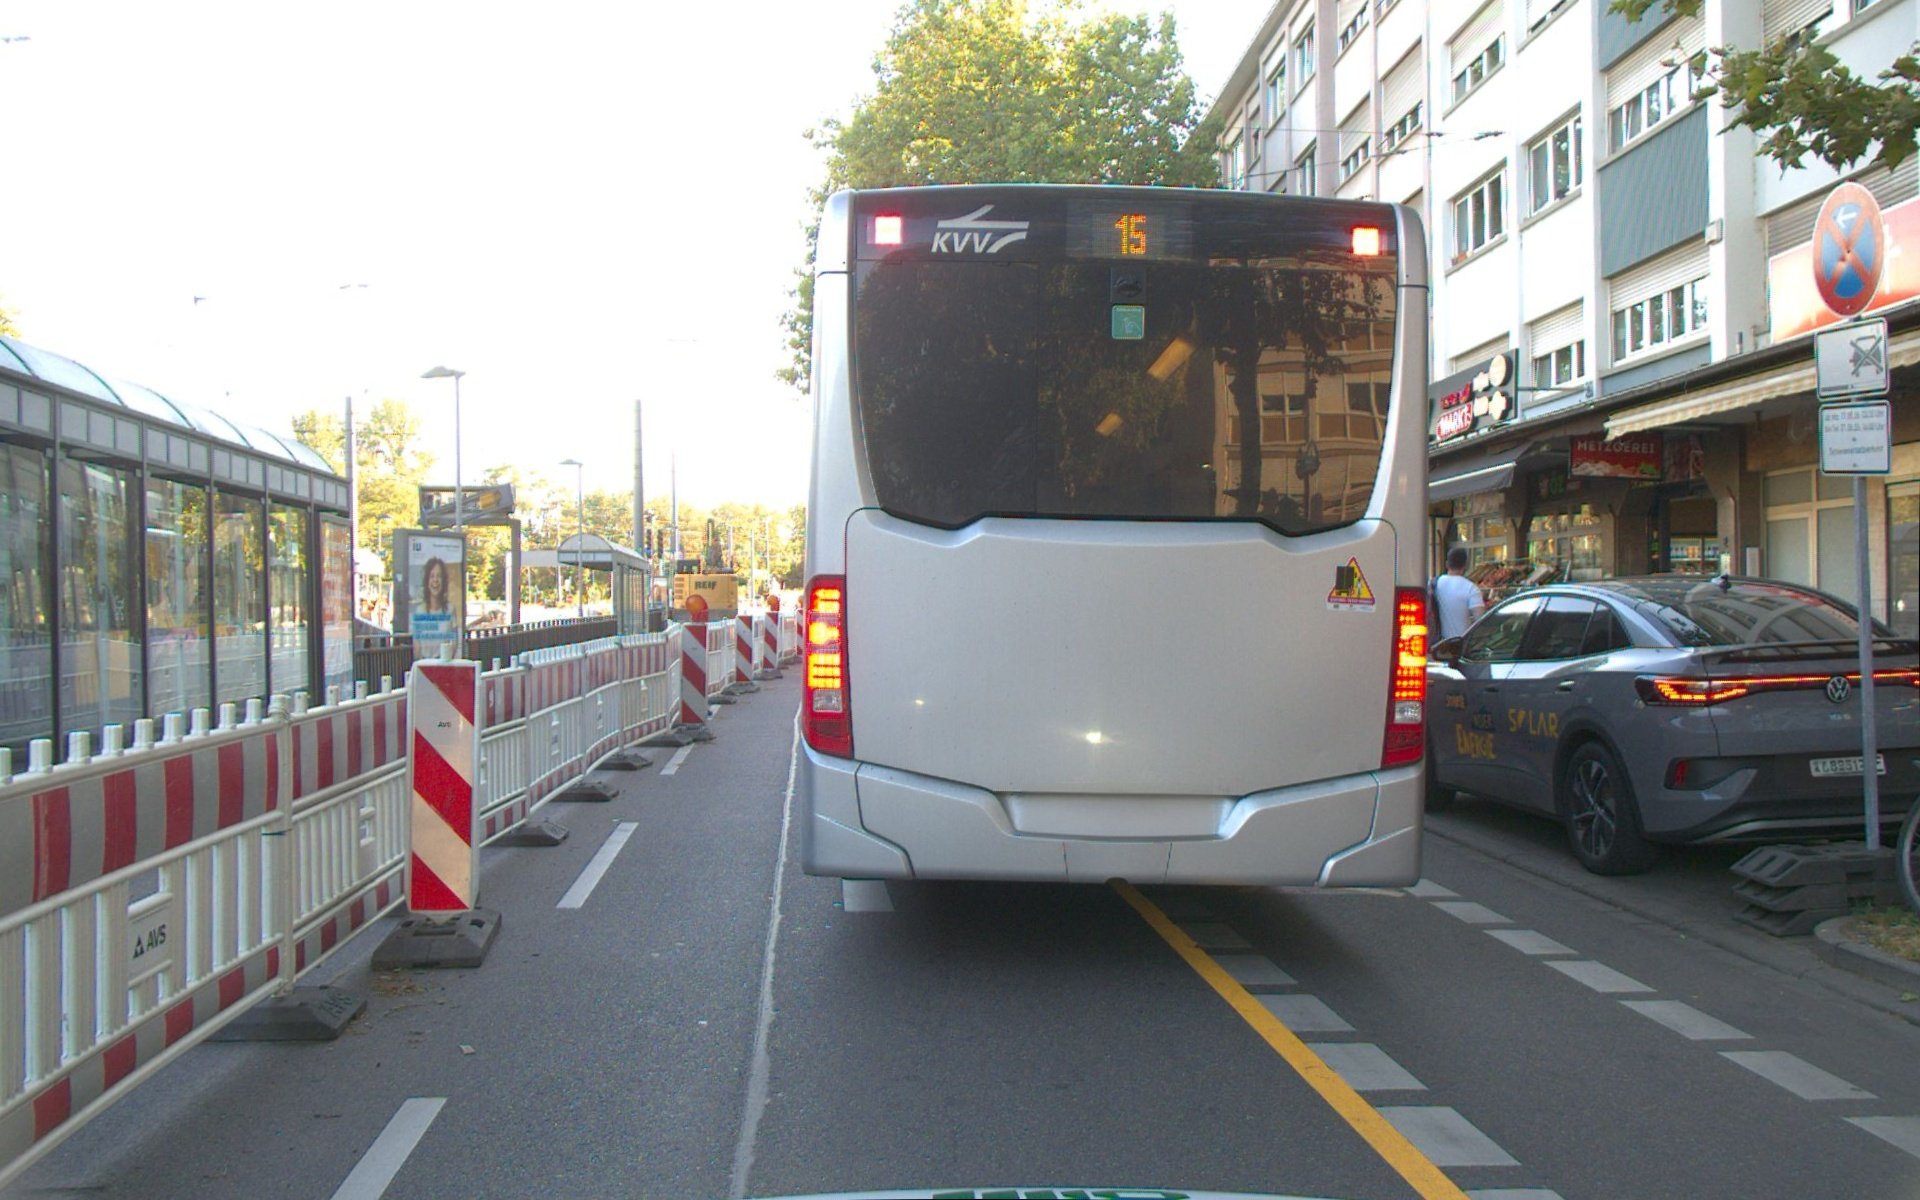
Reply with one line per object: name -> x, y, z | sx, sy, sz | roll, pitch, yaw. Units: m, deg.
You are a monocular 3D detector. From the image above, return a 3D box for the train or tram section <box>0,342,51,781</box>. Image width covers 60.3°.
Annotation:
train or tram section -> -8.603, -0.316, 9.008 | 2.782, 3.548, 10.321 | 0, 0, -7

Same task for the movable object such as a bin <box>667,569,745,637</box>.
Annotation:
movable object such as a bin -> -9.703, 0.100, 63.509 | 2.752, 2.505, 3.995 | 0, 0, -6

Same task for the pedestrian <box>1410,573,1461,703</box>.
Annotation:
pedestrian -> 7.593, 0.603, 26.422 | 0.600, 2.049, 0.696 | -1, 0, 0

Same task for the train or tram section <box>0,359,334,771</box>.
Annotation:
train or tram section -> -9.965, -0.287, 19.213 | 2.763, 3.548, 10.320 | 0, 0, -8

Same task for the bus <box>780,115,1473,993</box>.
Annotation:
bus -> 0.577, -0.184, 11.247 | 2.555, 3.225, 10.290 | 0, 0, -1

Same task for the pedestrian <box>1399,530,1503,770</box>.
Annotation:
pedestrian -> 4.327, 0.434, 14.557 | 0.753, 2.049, 0.714 | -2, 0, 21

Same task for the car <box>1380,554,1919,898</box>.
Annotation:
car -> 4.230, 0.608, 10.346 | 1.706, 1.625, 4.294 | -3, 0, -5

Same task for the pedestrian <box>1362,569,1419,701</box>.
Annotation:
pedestrian -> 6.797, 0.539, 26.136 | 0.677, 2.049, 0.696 | -1, 0, -4
